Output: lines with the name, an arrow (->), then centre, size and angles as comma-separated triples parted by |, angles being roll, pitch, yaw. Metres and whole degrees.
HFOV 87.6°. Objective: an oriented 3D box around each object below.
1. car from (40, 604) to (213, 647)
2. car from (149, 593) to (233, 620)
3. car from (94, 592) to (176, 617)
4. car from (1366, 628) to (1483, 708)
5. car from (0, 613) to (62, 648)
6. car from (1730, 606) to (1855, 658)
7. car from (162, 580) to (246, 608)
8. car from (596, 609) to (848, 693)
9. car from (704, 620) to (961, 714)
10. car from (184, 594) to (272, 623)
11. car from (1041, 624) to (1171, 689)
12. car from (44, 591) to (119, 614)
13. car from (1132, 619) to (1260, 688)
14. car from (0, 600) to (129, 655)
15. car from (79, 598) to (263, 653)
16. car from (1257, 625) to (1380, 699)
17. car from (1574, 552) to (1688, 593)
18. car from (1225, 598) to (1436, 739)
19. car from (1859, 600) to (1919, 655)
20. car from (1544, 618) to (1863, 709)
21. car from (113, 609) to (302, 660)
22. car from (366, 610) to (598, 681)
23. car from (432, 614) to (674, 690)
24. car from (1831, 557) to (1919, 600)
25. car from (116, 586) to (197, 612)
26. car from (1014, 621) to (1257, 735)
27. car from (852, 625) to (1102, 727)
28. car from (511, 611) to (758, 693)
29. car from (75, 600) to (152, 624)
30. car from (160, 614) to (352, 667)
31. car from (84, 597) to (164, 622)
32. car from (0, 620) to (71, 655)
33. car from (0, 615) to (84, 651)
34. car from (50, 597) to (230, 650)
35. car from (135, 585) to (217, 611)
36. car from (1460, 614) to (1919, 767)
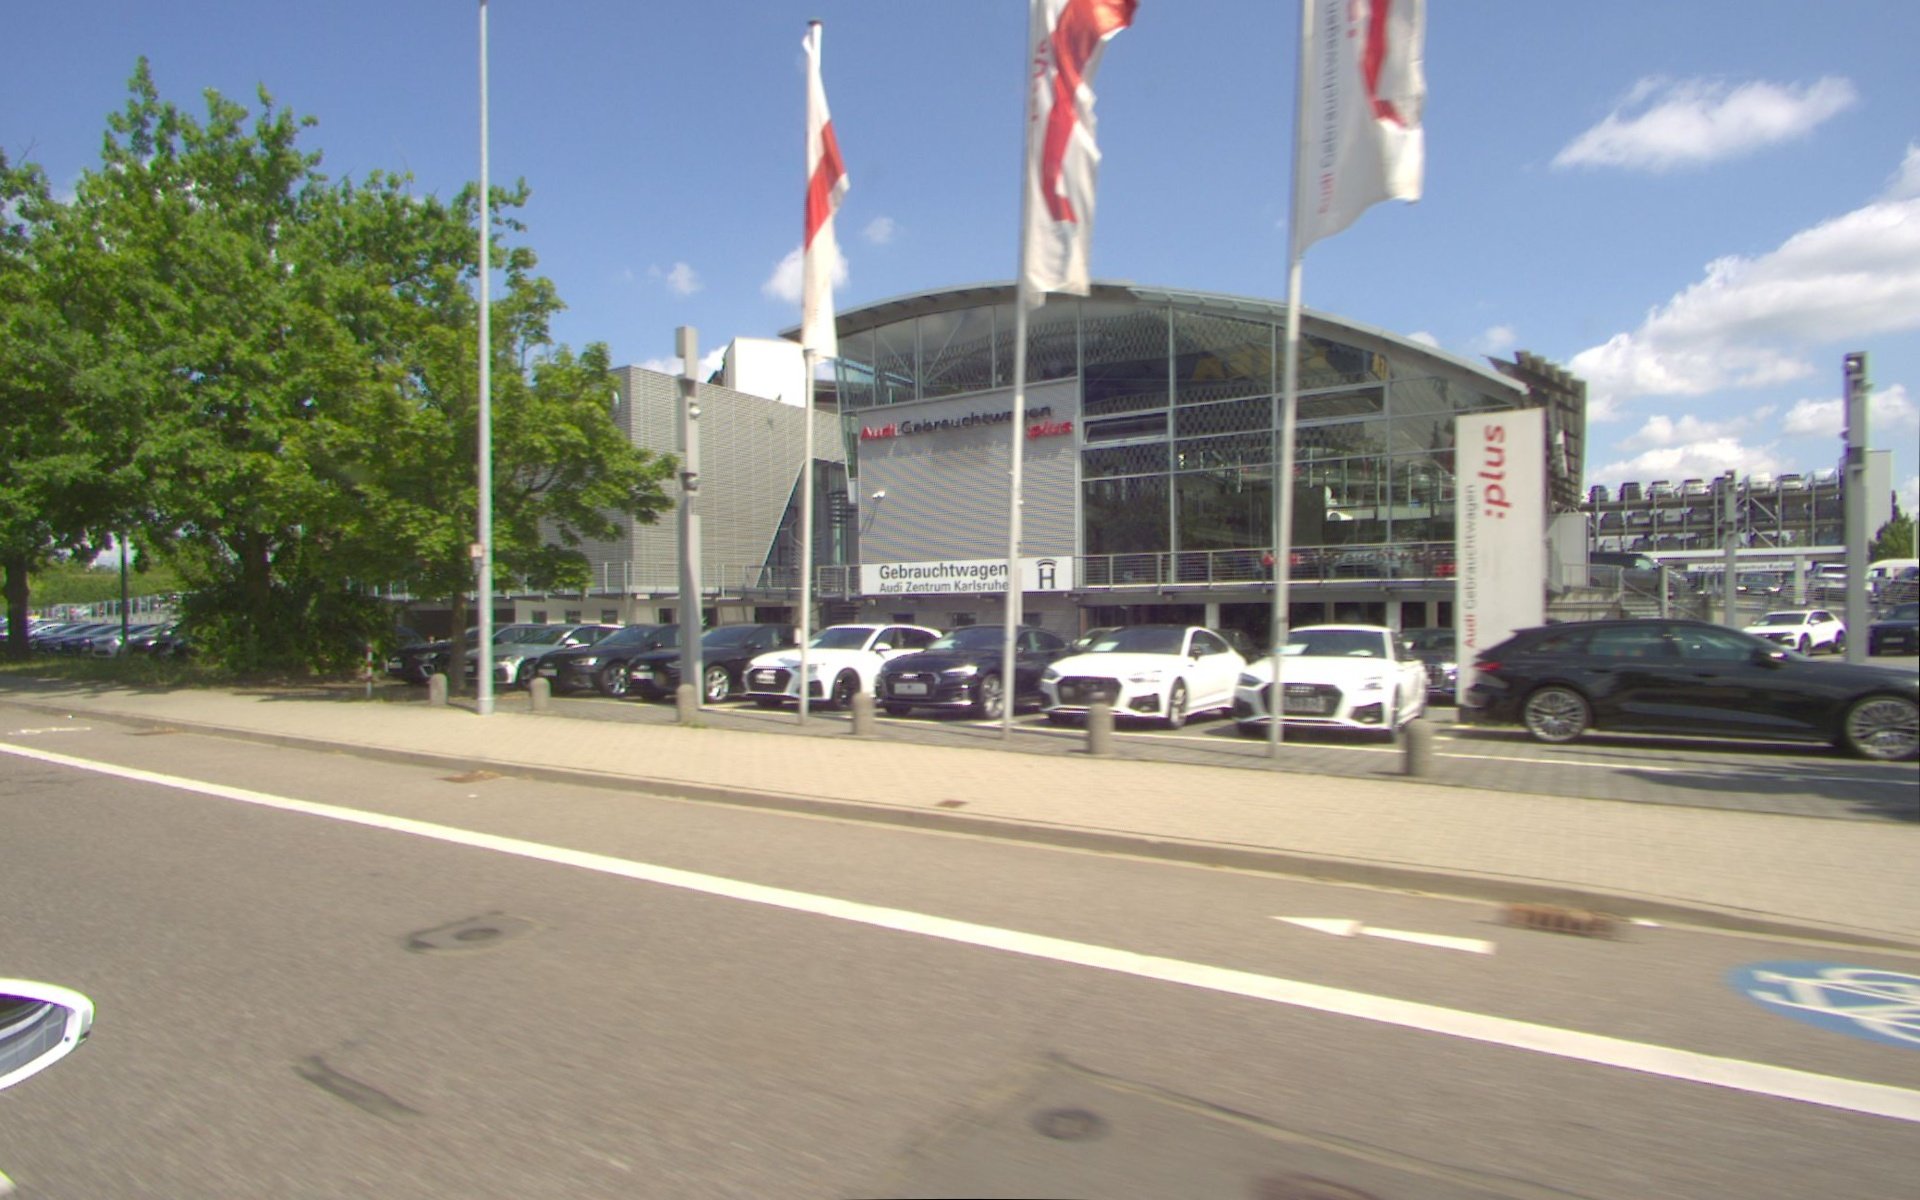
car -> -30.570, 0.924, 36.878 | 1.879, 1.423, 4.567 | 2, 0, 32
car -> -54.542, 0.473, 71.092 | 1.909, 1.798, 4.343 | 2, 0, 35
car -> -61.663, 0.348, 74.893 | 1.909, 1.798, 4.343 | 2, 0, 35
car -> 10.453, 1.416, 22.371 | 1.880, 1.518, 4.338 | -1, -1, 32
car -> -43.746, 1.378, 45.264 | 1.829, 1.532, 4.345 | -1, 0, 32
car -> 29.260, 1.137, 35.179 | 4.524, 1.700, 1.897 | 2, 0, -30
car -> -52.585, -0.416, 69.721 | 1.909, 1.798, 4.343 | 2, 0, 35
car -> -4.271, 1.009, 18.736 | 1.879, 1.313, 4.571 | 2, -3, 32
car -> -1.982, 1.026, 16.996 | 1.879, 1.314, 4.567 | 1, 0, 32
car -> -48.740, 0.565, 66.741 | 1.909, 1.798, 4.343 | 2, 0, 35
car -> 3.983, 1.435, 26.684 | 1.880, 1.518, 4.338 | -1, -1, 32
car -> -72.257, 0.228, 82.388 | 1.909, 1.798, 4.343 | 2, 0, 35
car -> 6.056, 1.276, 25.347 | 1.880, 1.518, 4.338 | -1, -1, 32
car -> -36.927, 1.094, 40.663 | 1.879, 2.076, 4.567 | 2, 0, 32
car -> -26.682, 0.852, 34.033 | 1.879, 1.700, 4.567 | 2, 0, 32
car -> 8.546, 1.376, 23.631 | 1.880, 1.518, 4.338 | -1, -1, 32
car -> 31.972, -1.316, 47.891 | 4.390, 1.825, 1.756 | 1, 0, 32
car -> 4.851, 0.856, 12.750 | 1.770, 1.482, 3.983 | 0, -4, 32
car -> 31.842, 0.929, 33.026 | 4.524, 1.700, 1.897 | 2, 0, -30
car -> 13.916, 1.165, 19.141 | 4.690, 1.529, 1.975 | -1, -4, 34
car -> -24.369, 1.058, 32.621 | 1.880, 1.518, 4.566 | -1, -1, 32
car -> -10.958, 1.047, 23.290 | 1.879, 1.423, 4.569 | 2, -2, 32
car -> -8.634, 1.161, 21.673 | 1.879, 1.422, 4.571 | 2, -3, 32
car -> 48.437, -1.072, 50.658 | 6.315, 2.130, 1.756 | 1, 0, 32
car -> -59.375, -0.081, 74.067 | 1.909, 1.798, 4.343 | 2, 0, 35
car -> 2.708, 0.992, 14.427 | 1.879, 1.314, 4.567 | 1, 0, 32
car -> 0.447, 1.077, 15.841 | 1.879, 1.314, 4.567 | 1, 0, 32
car -> -6.356, 1.036, 20.100 | 1.879, 1.401, 4.569 | 2, -2, 32
car -> -67.722, 0.966, 80.180 | 1.909, 1.798, 4.343 | 2, 0, 35
car -> -21.955, 1.212, 31.408 | 1.880, 1.518, 4.566 | -1, -1, 32
car -> -63.834, 0.709, 76.493 | 1.909, 1.798, 4.343 | 2, 0, 35
car -> -41.633, 1.628, 43.563 | 1.829, 1.464, 4.099 | 0, -1, 32
car -> -39.570, 1.362, 41.865 | 1.792, 1.422, 4.099 | 0, 0, 32
car -> -28.734, 0.804, 35.242 | 1.879, 1.700, 4.567 | 2, 0, 32
car -> -56.714, -0.119, 72.490 | 1.909, 1.798, 4.343 | 2, 0, 35
car -> 8.389, 0.951, 11.365 | 4.690, 1.482, 1.787 | -1, -4, 34
